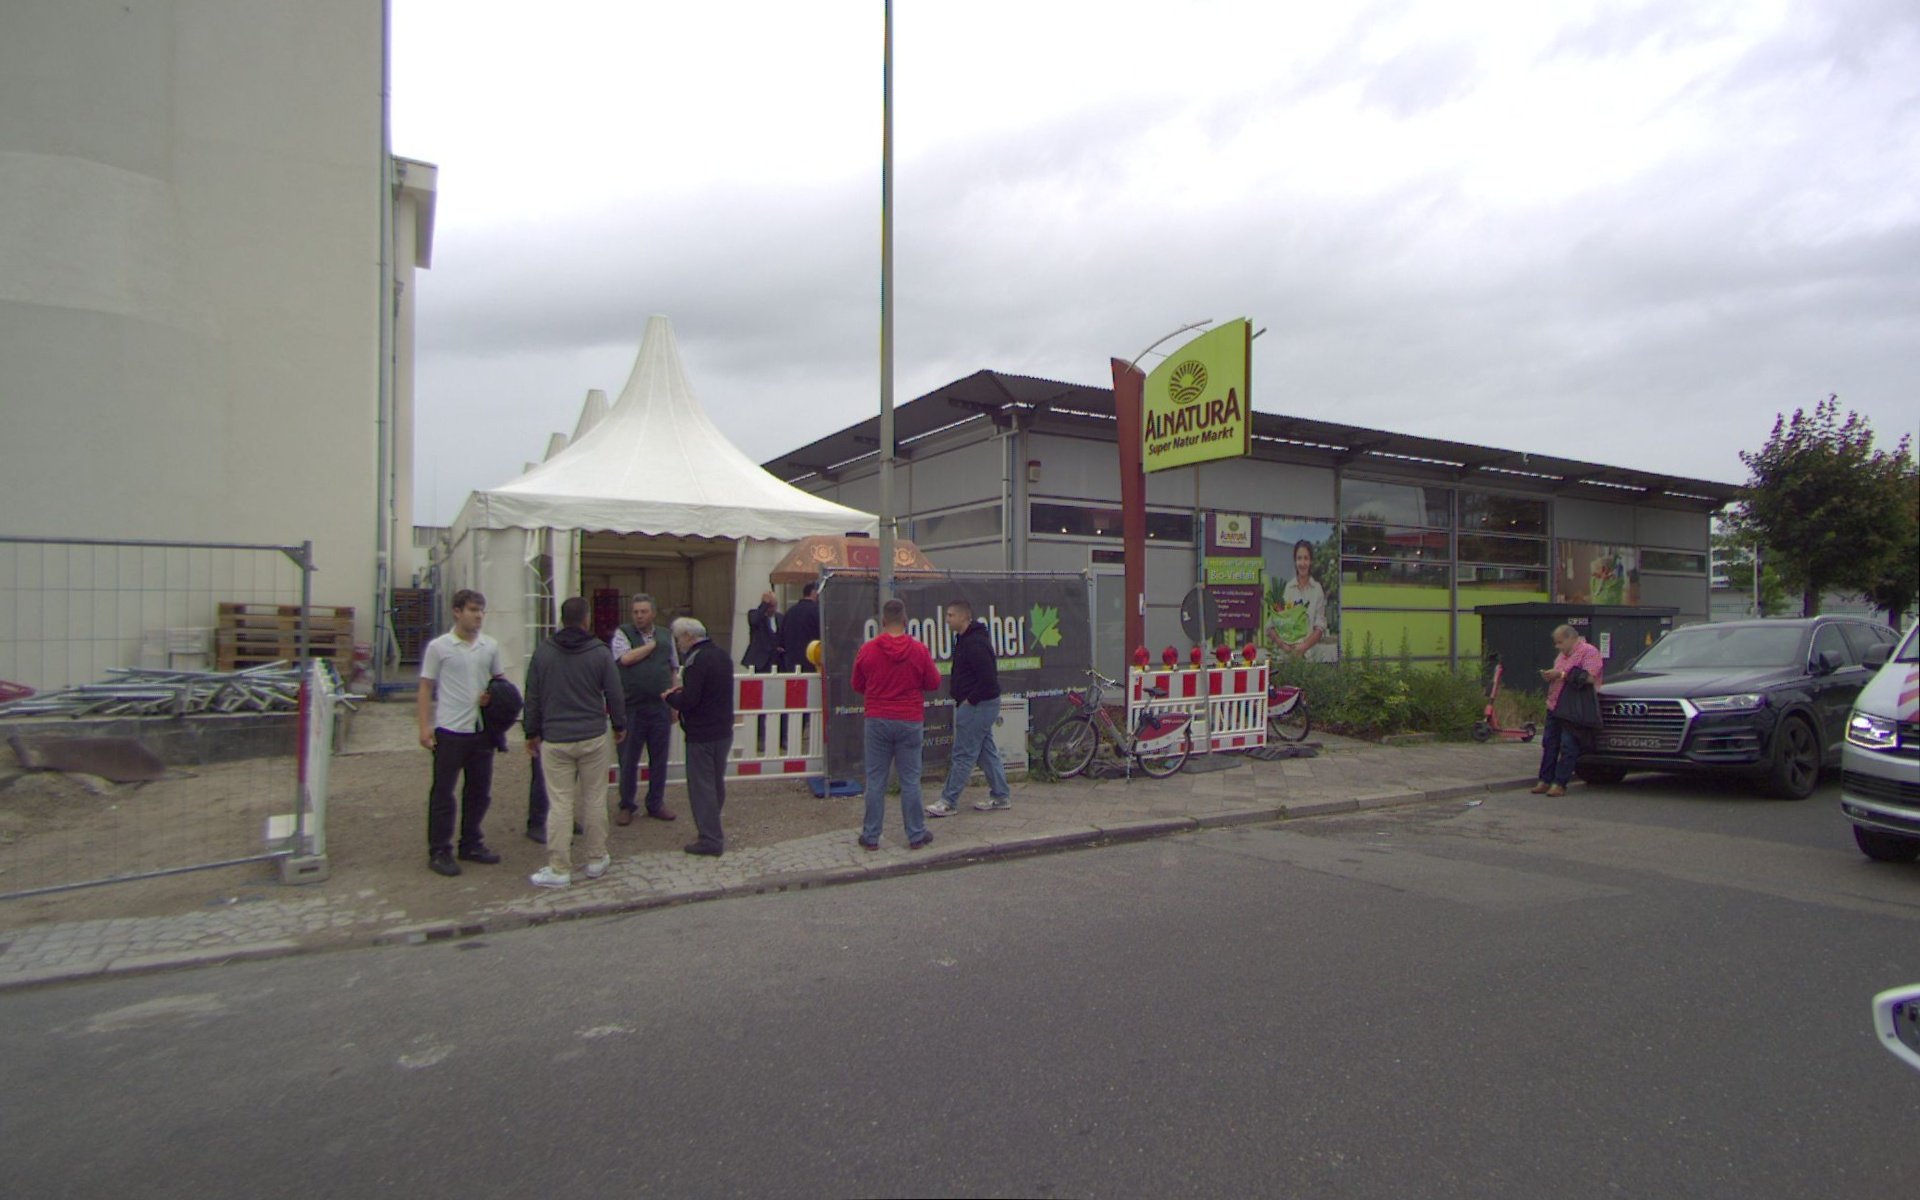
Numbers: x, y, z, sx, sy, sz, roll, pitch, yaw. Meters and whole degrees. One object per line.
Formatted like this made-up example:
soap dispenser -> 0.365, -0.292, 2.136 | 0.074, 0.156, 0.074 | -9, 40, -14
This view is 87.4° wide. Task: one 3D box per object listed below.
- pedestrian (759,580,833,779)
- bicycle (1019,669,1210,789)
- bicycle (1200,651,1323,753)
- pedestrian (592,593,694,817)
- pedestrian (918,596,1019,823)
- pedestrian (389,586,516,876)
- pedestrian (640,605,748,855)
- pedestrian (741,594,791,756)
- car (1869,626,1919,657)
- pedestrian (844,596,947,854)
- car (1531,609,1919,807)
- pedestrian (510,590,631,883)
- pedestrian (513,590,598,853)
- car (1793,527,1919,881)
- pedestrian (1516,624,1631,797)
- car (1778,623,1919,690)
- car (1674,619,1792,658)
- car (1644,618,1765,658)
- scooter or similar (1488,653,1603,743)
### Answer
pedestrian -> -1.621, 0.765, 9.911 | 0.626, 1.890, 0.389 | -1, -1, 38
bicycle -> 1.554, 1.249, 10.013 | 1.874, 1.092, 0.542 | 2, -1, -24
bicycle -> 3.837, 1.271, 12.911 | 0.387, 1.061, 1.651 | 1, 3, -31
pedestrian -> -2.440, 0.775, 7.741 | 0.531, 1.633, 0.489 | 2, 0, 33
pedestrian -> 0.081, 0.852, 8.233 | 0.673, 1.741, 0.696 | 1, 3, 15
pedestrian -> -3.266, 0.812, 6.512 | 0.682, 1.772, 0.488 | 1, -1, -24
pedestrian -> -1.826, 0.858, 6.930 | 0.481, 1.633, 0.572 | 0, -1, 16
pedestrian -> -2.021, 0.769, 10.510 | 0.463, 1.657, 0.422 | 0, -1, -5
car -> 52.121, 2.244, 54.351 | 1.854, 1.691, 3.970 | 1, -1, -29
pedestrian -> -0.461, 0.869, 7.179 | 0.707, 1.778, 0.410 | 0, -1, -4
car -> 8.422, 1.042, 10.697 | 4.671, 1.713, 1.858 | 1, -4, -29
pedestrian -> -2.501, 0.837, 6.457 | 0.682, 1.772, 0.488 | 1, -1, -24
pedestrian -> -2.858, 0.825, 7.097 | 0.521, 1.772, 0.488 | 1, -1, -24
car -> 7.826, 0.660, 6.674 | 4.895, 2.040, 1.919 | 2, -2, -29
pedestrian -> 6.113, 1.084, 10.028 | 0.645, 1.642, 0.670 | 1, -5, -29
car -> 25.282, 1.513, 27.663 | 1.904, 1.642, 3.857 | 1, 0, -29
car -> 35.763, 1.751, 46.555 | 1.854, 1.691, 3.970 | 1, -1, -29
car -> 33.439, 1.678, 45.214 | 1.854, 1.691, 3.970 | 1, -1, -29
scooter or similar -> 8.272, 1.356, 14.187 | 1.621, 1.172, 0.659 | 1, -1, -28
